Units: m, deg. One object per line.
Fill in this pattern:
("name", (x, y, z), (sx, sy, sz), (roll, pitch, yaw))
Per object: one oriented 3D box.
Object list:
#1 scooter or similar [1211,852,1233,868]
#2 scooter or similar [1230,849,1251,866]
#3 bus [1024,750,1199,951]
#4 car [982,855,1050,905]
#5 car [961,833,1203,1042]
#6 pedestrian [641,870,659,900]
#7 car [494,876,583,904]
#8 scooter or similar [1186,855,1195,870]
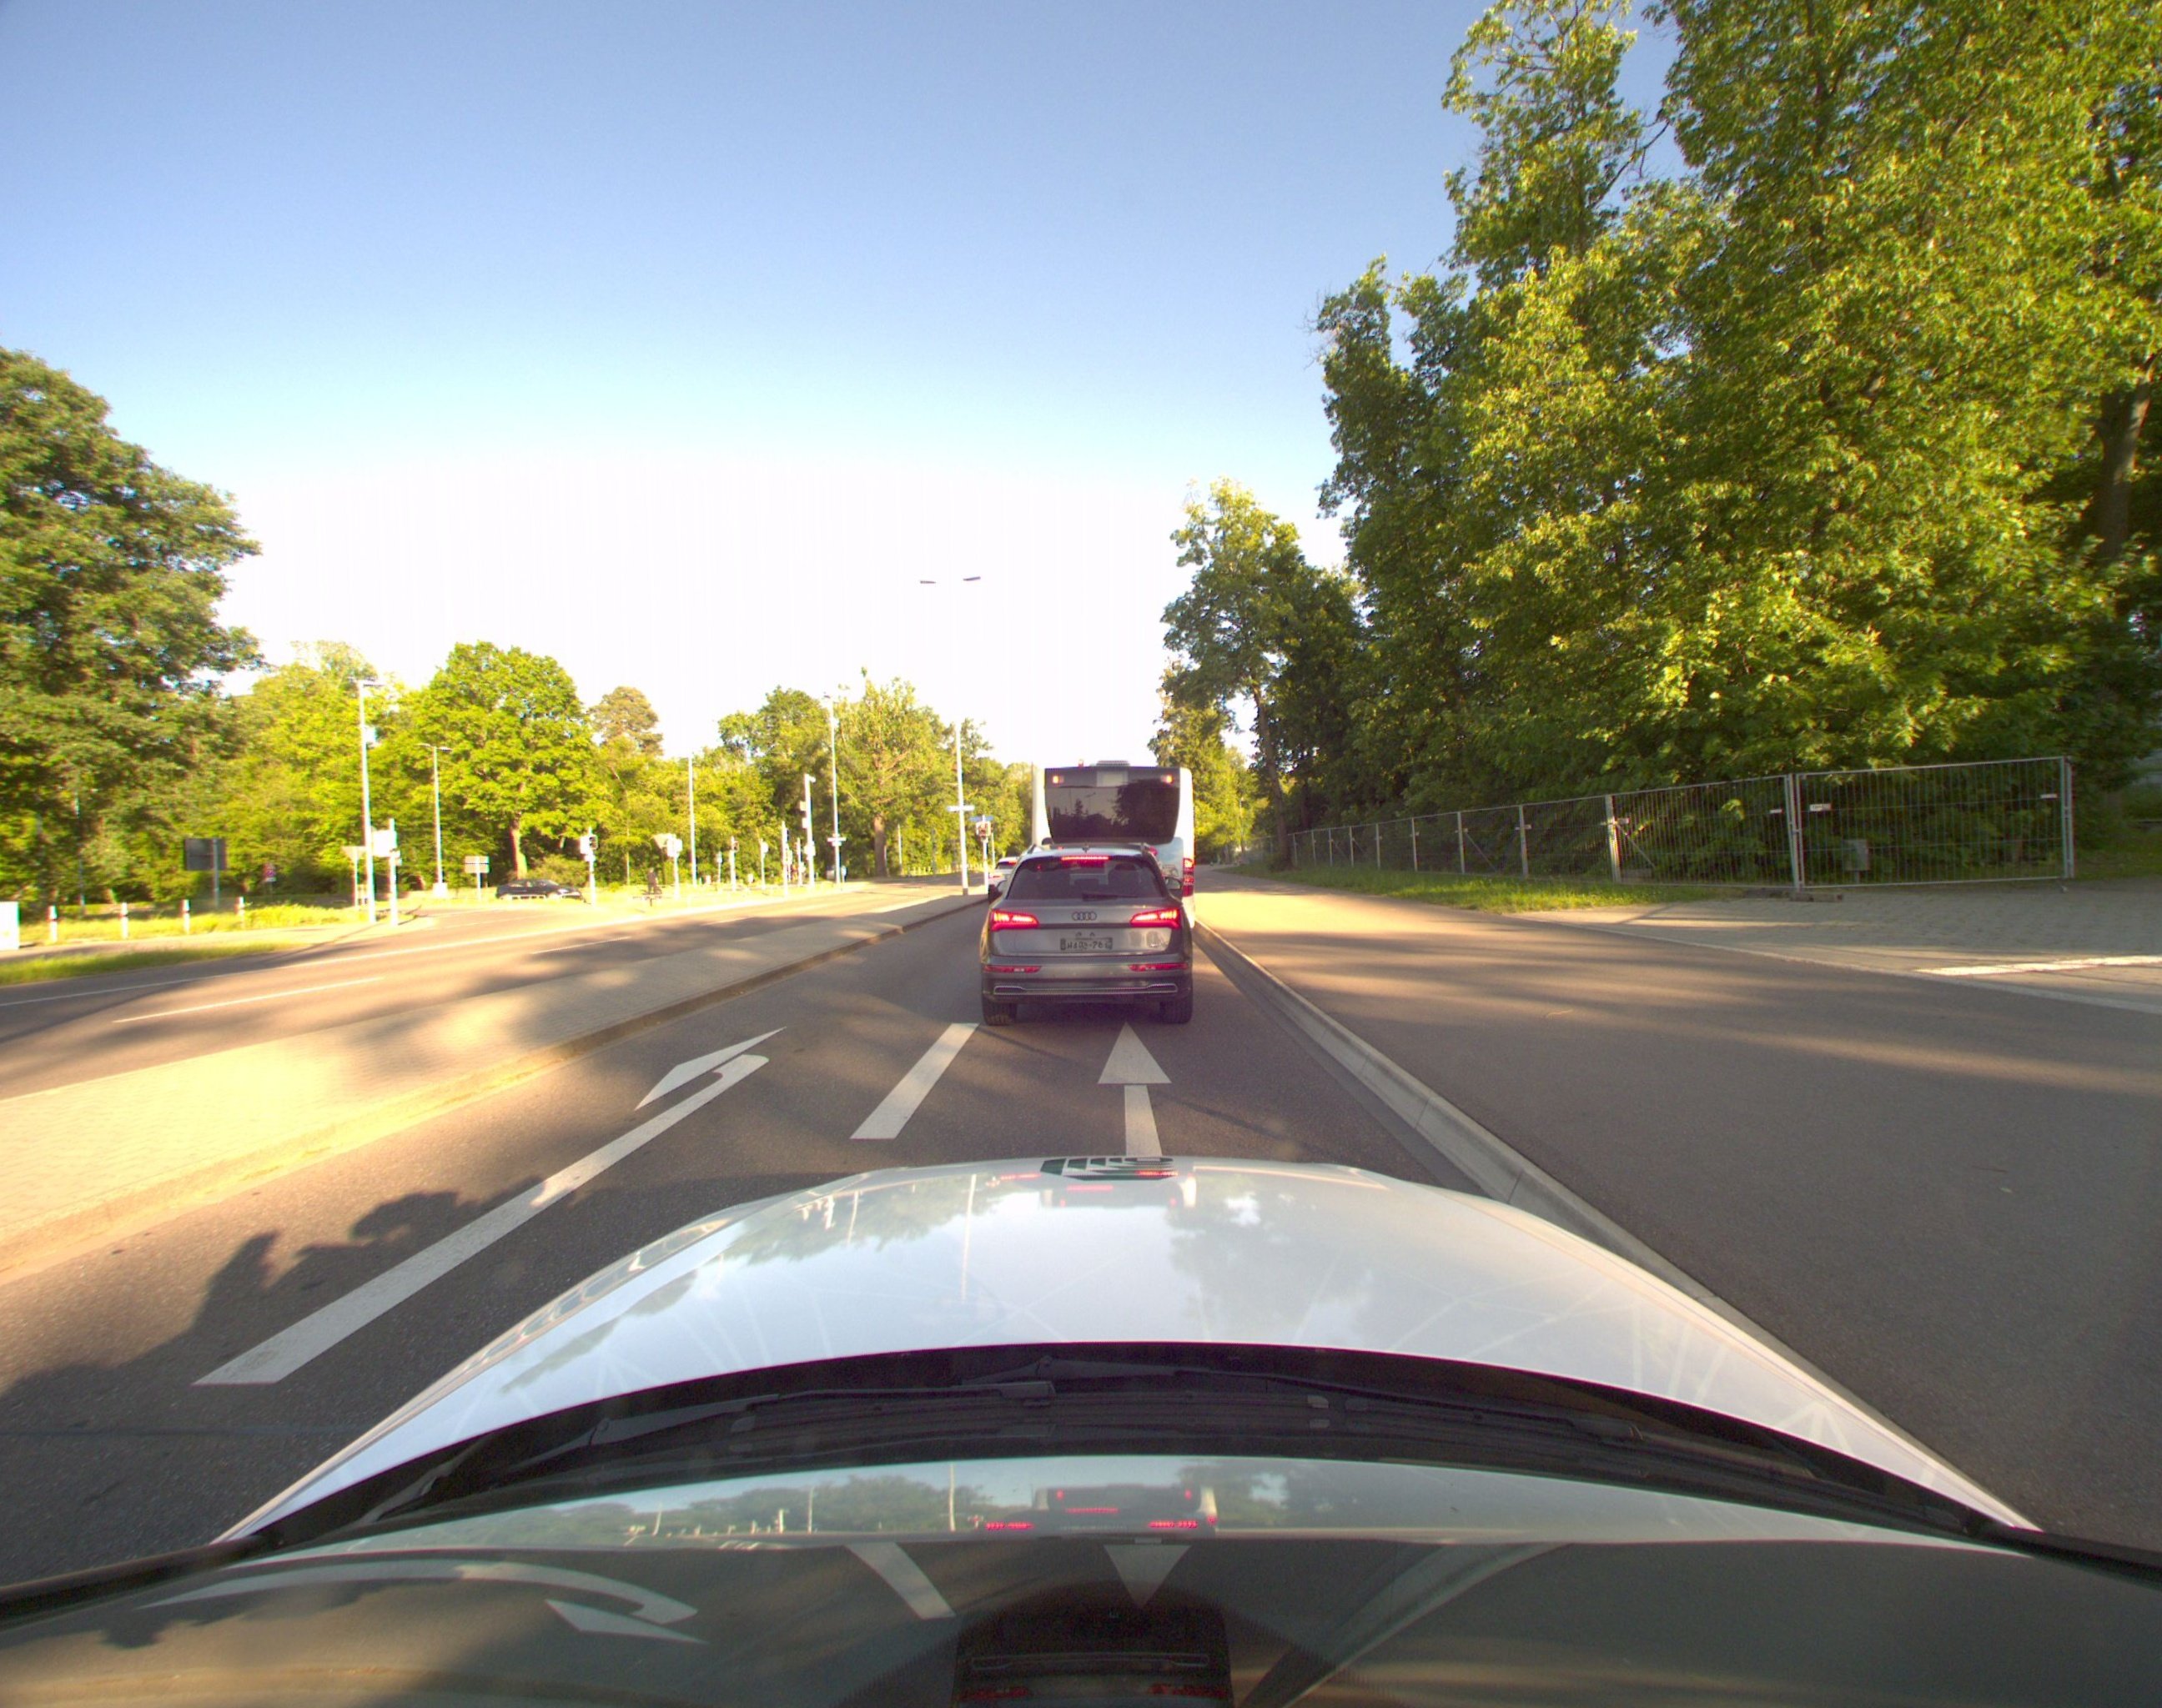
("scooter or similar", (13.463, 0.549, 77.740), (2.025, 1.444, 0.601), (-3, 0, -23))
("scooter or similar", (15.471, 0.349, 78.990), (0.543, 1.567, 1.999), (-3, 0, -37))
("bus", (0.612, -0.003, 16.947), (2.585, 2.989, 9.330), (-1, -1, 2))
("car", (-2.123, 0.815, 27.664), (1.829, 1.518, 4.002), (-2, 0, 2))
("car", (0.069, 0.663, 8.450), (1.891, 1.632, 4.002), (-1, 0, 2))
("pedestrian", (-22.703, 1.635, 42.915), (0.652, 1.560, 0.533), (-2, 0, -41))
("car", (-31.560, 2.071, 47.397), (4.081, 1.387, 1.755), (-3, 0, 6))
("scooter or similar", (10.819, 0.813, 80.537), (0.507, 1.444, 2.020), (-3, 0, -3))
